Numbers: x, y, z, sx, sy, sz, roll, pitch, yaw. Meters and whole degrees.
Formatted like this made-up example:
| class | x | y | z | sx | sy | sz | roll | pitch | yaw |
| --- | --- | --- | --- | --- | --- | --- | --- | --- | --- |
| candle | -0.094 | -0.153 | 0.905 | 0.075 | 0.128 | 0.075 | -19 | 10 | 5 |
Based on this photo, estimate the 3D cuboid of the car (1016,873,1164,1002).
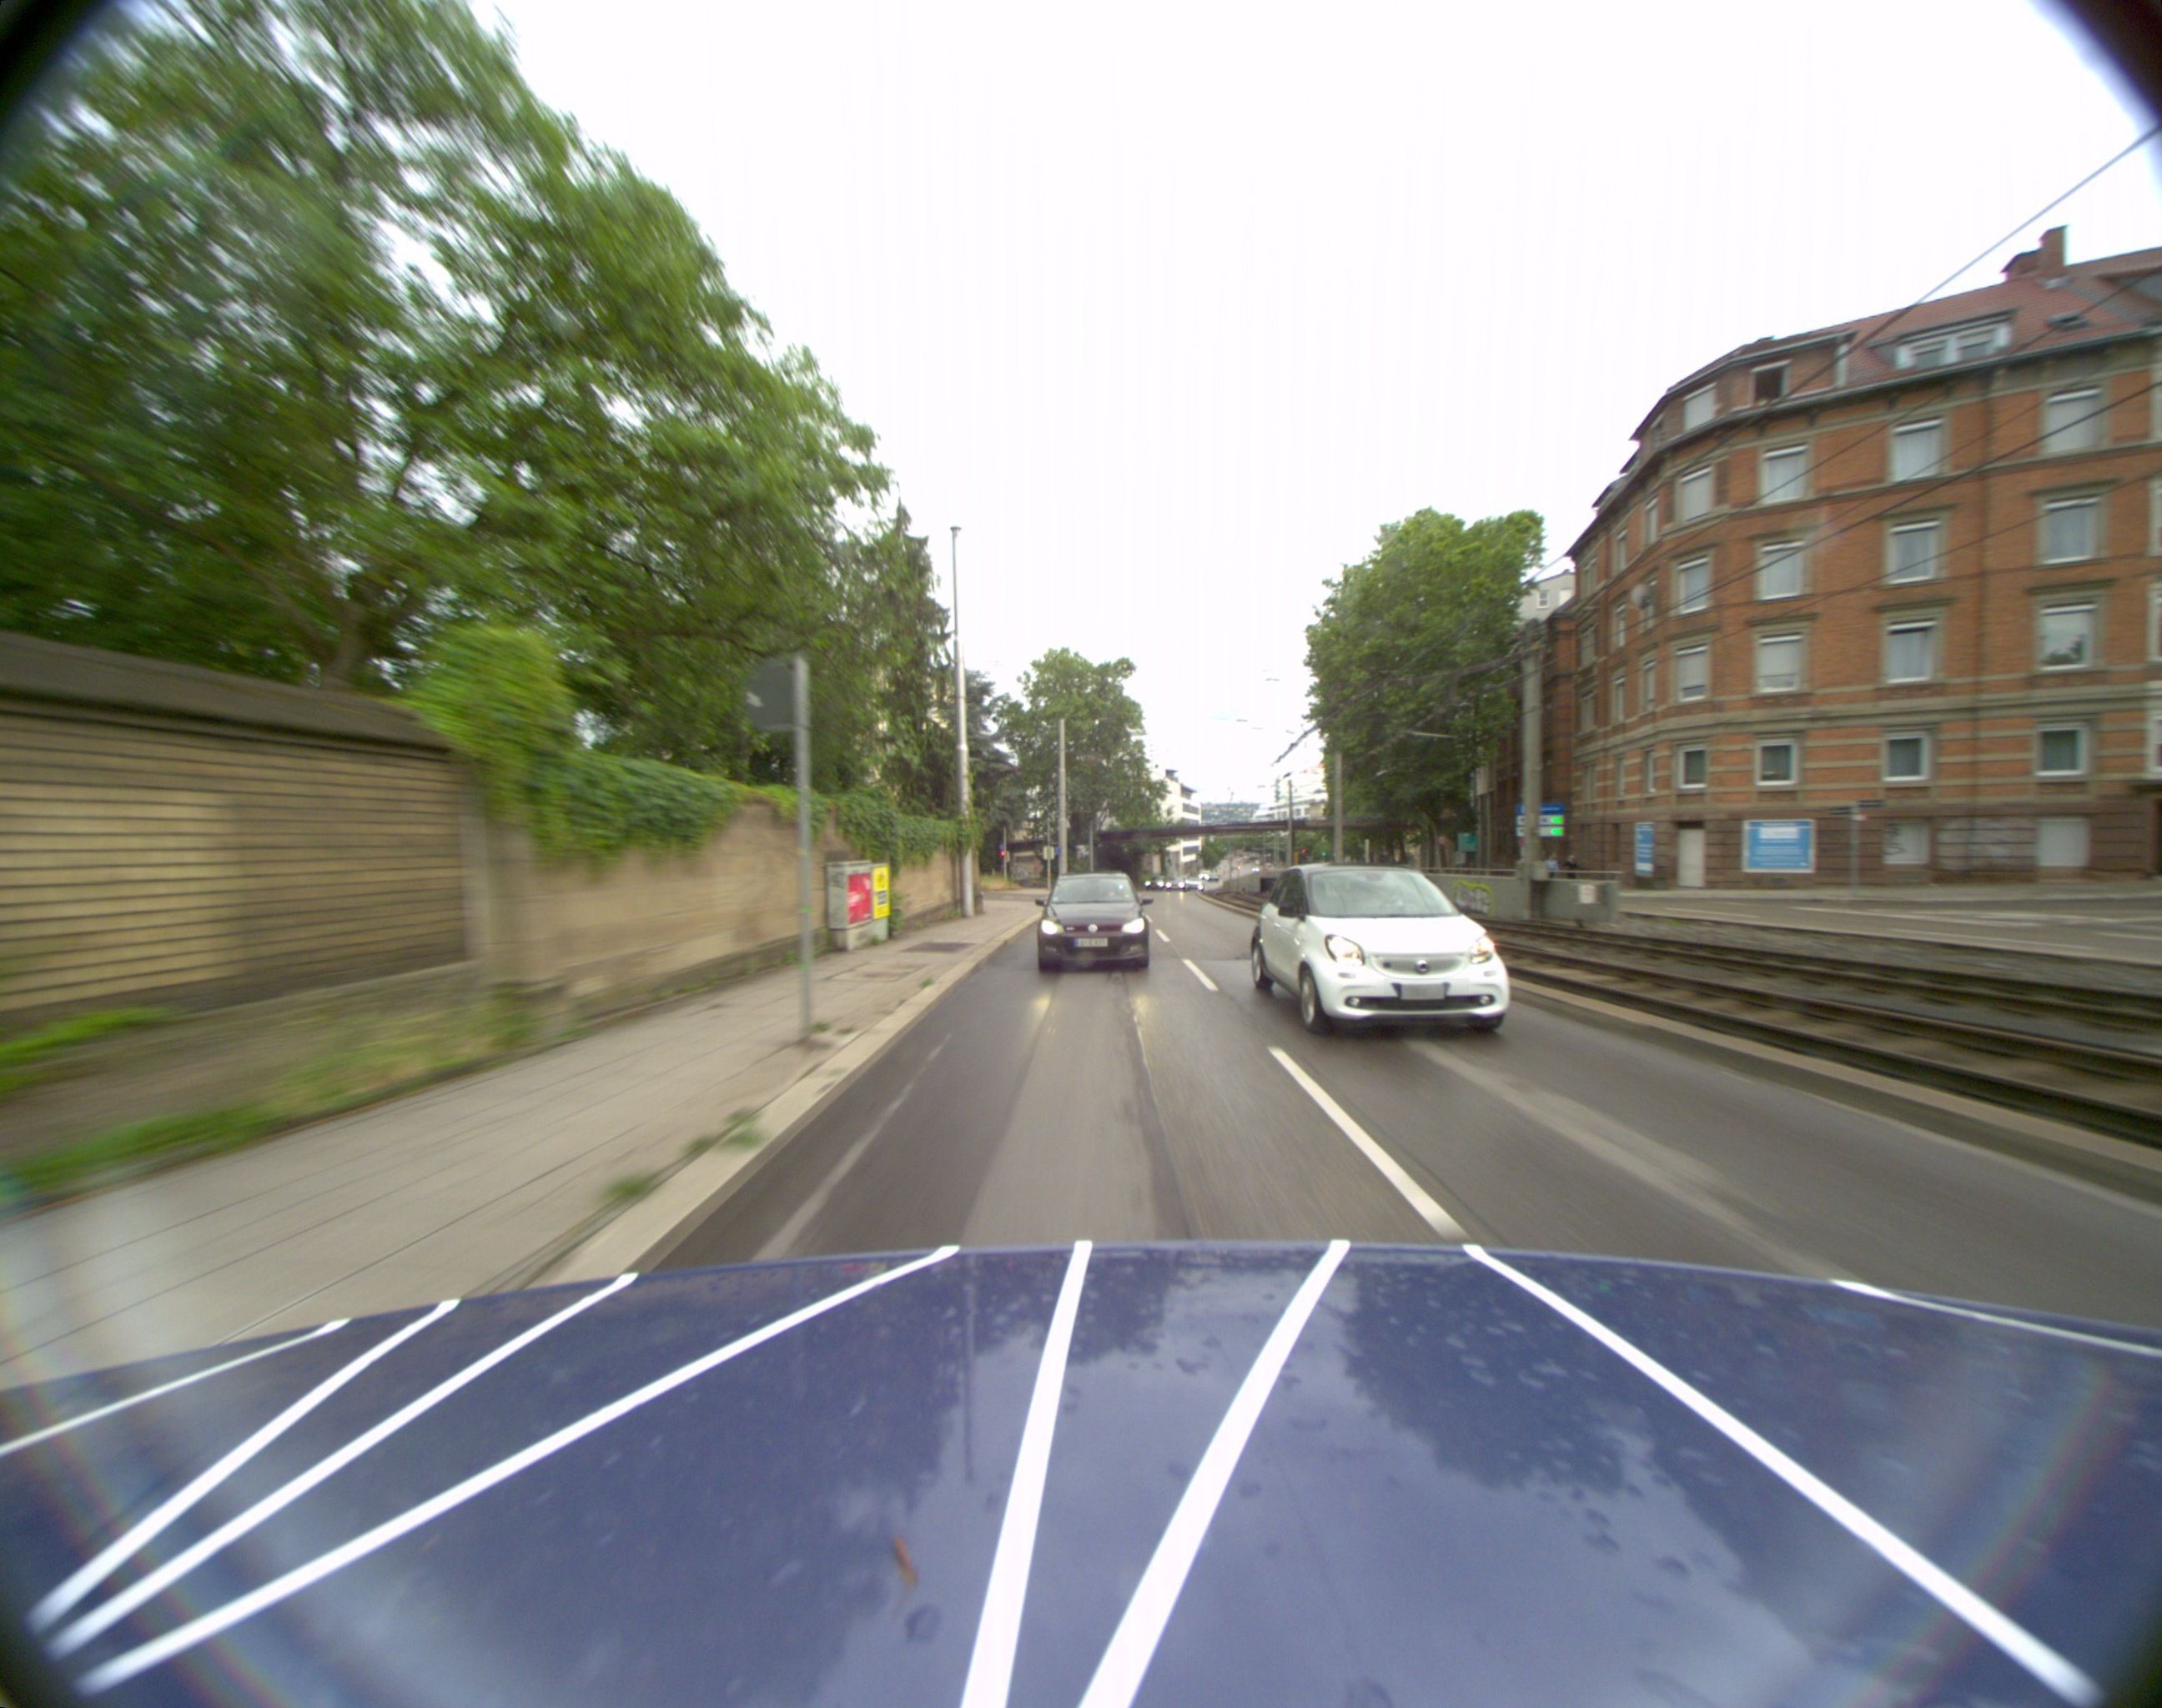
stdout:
| class | x | y | z | sx | sy | sz | roll | pitch | yaw |
| --- | --- | --- | --- | --- | --- | --- | --- | --- | --- |
| car | 0.136 | 1.081 | 11.389 | 1.798 | 1.477 | 3.965 | -2 | 0 | 1 |

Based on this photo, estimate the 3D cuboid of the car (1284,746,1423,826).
| class | x | y | z | sx | sy | sz | roll | pitch | yaw |
| --- | --- | --- | --- | --- | --- | --- | --- | --- | --- |
| car | 8.082 | -1.962 | 22.970 | 2.001 | 2.002 | 3.995 | -2 | 0 | -15 |

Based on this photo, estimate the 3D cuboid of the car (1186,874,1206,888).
| class | x | y | z | sx | sy | sz | roll | pitch | yaw |
| --- | --- | --- | --- | --- | --- | --- | --- | --- | --- |
| car | 12.744 | 2.994 | 84.285 | 1.734 | 1.368 | 4.004 | -2 | 0 | 15 |

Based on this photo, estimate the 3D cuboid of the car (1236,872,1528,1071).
| class | x | y | z | sx | sy | sz | roll | pitch | yaw |
| --- | --- | --- | --- | --- | --- | --- | --- | --- | --- |
| car | 2.792 | 0.989 | 7.961 | 1.680 | 1.521 | 3.722 | -1 | -1 | 2 |

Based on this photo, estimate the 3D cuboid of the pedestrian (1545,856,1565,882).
| class | x | y | z | sx | sy | sz | roll | pitch | yaw |
| --- | --- | --- | --- | --- | --- | --- | --- | --- | --- |
| pedestrian | 24.460 | 0.766 | 39.218 | 0.620 | 1.346 | 0.538 | -2 | 0 | 1 |

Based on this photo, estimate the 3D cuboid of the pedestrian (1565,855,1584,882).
| class | x | y | z | sx | sy | sz | roll | pitch | yaw |
| --- | --- | --- | --- | --- | --- | --- | --- | --- | --- |
| pedestrian | 25.202 | 0.720 | 38.823 | 0.620 | 1.346 | 0.538 | -1 | 0 | 1 |

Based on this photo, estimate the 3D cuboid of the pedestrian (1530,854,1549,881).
| class | x | y | z | sx | sy | sz | roll | pitch | yaw |
| --- | --- | --- | --- | --- | --- | --- | --- | --- | --- |
| pedestrian | 23.569 | 0.675 | 39.061 | 0.620 | 1.346 | 0.538 | -2 | 0 | 1 |

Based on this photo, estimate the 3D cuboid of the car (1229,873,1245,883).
| class | x | y | z | sx | sy | sz | roll | pitch | yaw |
| --- | --- | --- | --- | --- | --- | --- | --- | --- | --- |
| car | 23.442 | 3.626 | 114.103 | 1.996 | 1.368 | 4.005 | -2 | 0 | 17 |

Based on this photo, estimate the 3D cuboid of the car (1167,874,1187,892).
| class | x | y | z | sx | sy | sz | roll | pitch | yaw |
| --- | --- | --- | --- | --- | --- | --- | --- | --- | --- |
| car | 8.630 | 2.581 | 68.141 | 1.639 | 1.368 | 3.577 | -2 | 0 | 9 |

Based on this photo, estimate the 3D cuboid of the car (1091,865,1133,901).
| class | x | y | z | sx | sy | sz | roll | pitch | yaw |
| --- | --- | --- | --- | --- | --- | --- | --- | --- | --- |
| car | 1.439 | 1.247 | 34.211 | 1.657 | 1.483 | 3.831 | 0 | 0 | 5 |
